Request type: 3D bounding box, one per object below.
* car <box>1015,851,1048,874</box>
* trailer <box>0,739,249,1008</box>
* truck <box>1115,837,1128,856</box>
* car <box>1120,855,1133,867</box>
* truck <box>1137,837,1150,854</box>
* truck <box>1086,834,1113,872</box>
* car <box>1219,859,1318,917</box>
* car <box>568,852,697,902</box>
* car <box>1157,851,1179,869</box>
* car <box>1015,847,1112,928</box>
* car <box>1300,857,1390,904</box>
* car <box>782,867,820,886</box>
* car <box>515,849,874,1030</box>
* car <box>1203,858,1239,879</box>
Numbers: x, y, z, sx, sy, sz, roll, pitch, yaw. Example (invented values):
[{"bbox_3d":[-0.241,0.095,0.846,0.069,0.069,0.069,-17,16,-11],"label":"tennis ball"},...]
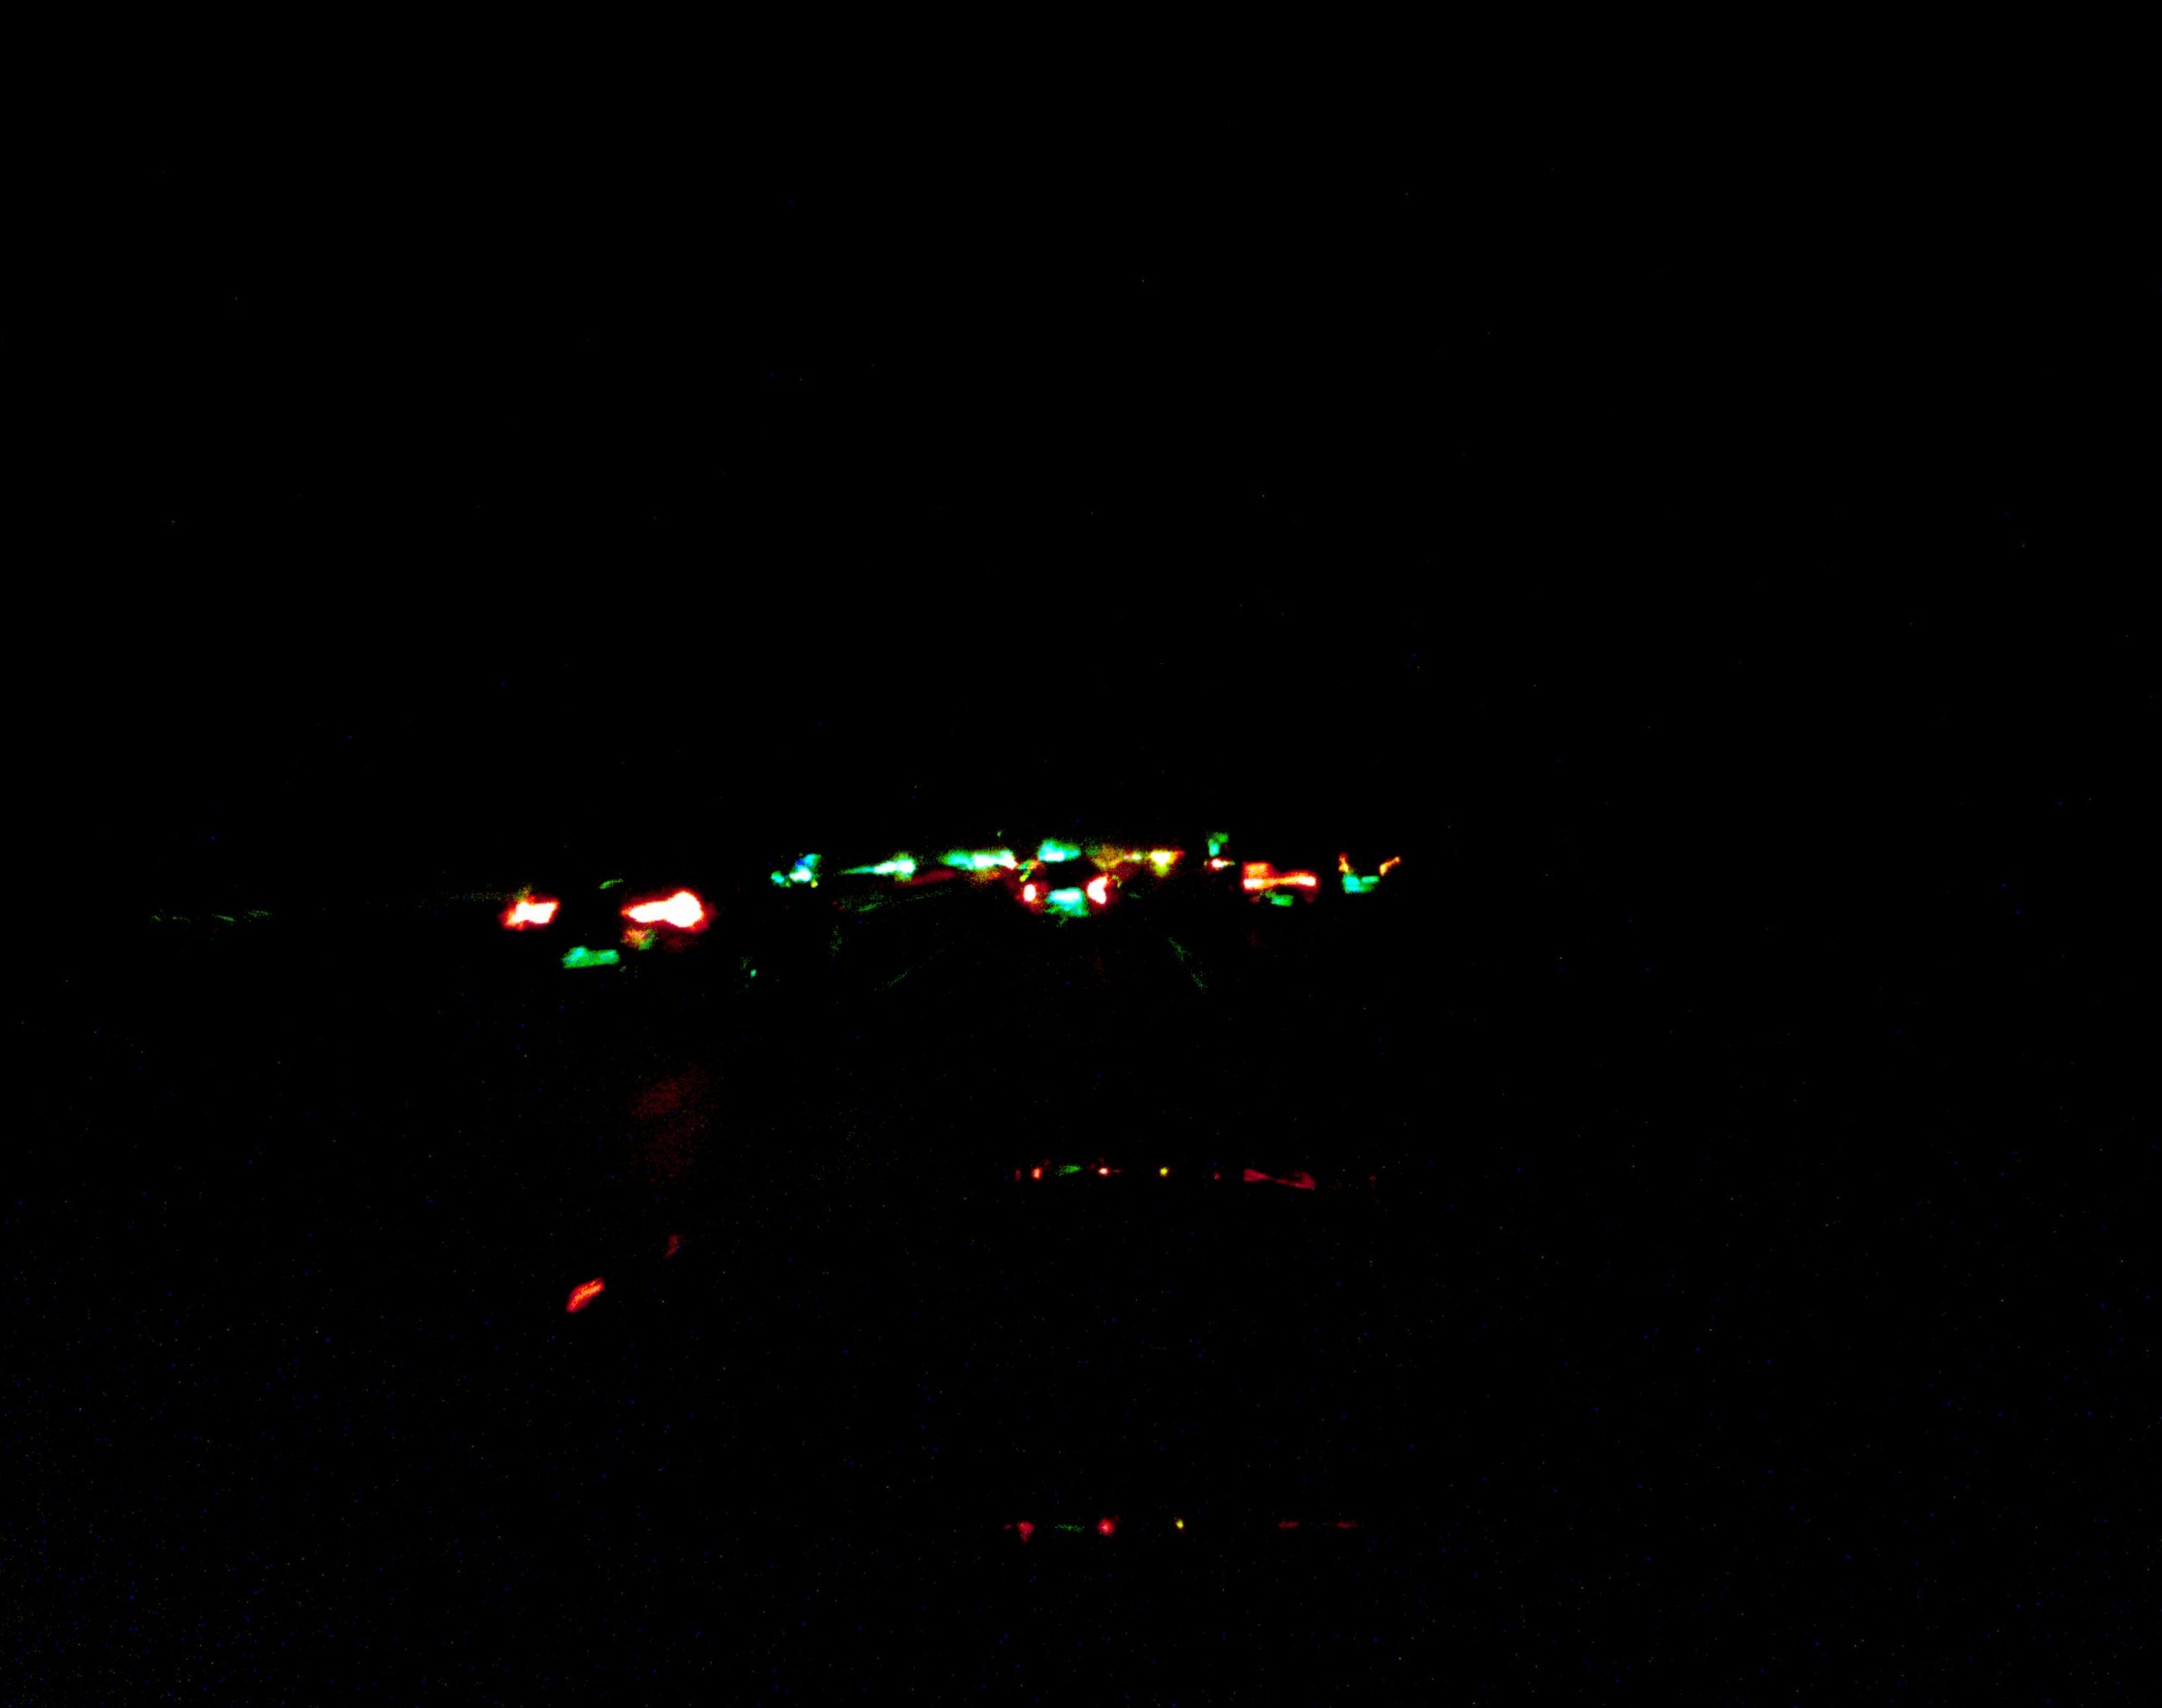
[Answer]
[{"bbox_3d":[-2.932,0.513,49.135,1.657,1.236,3.761,-4,0,0],"label":"car"},{"bbox_3d":[-21.027,0.413,11.501,2.912,4.849,14.587,-4,0,2],"label":"trailer"},{"bbox_3d":[7.122,-1.255,142.306,1.985,3.042,6.470,-4,-1,3],"label":"truck"},{"bbox_3d":[6.603,0.989,117.964,1.855,1.618,4.003,-1,0,3],"label":"car"},{"bbox_3d":[12.033,-1.661,157.106,1.985,3.042,6.470,-4,-1,3],"label":"truck"},{"bbox_3d":[1.702,-0.082,72.152,1.985,3.042,6.470,-4,-1,3],"label":"truck"},{"bbox_3d":[4.395,0.761,19.490,1.577,1.246,3.066,-1,0,-2],"label":"car"},{"bbox_3d":[-16.235,0.787,29.814,1.986,1.599,4.595,-3,0,2],"label":"car"},{"bbox_3d":[8.010,0.554,75.155,1.855,1.618,4.003,-1,0,3],"label":"car"},{"bbox_3d":[-0.258,0.615,17.202,1.795,1.487,4.002,-1,0,2],"label":"car"},{"bbox_3d":[7.672,0.740,23.936,1.577,1.246,3.066,-1,0,-2],"label":"car"},{"bbox_3d":[-22.837,1.837,66.535,1.646,1.343,3.999,-1,0,0],"label":"car"},{"bbox_3d":[-4.082,0.753,9.710,1.851,1.540,4.753,-1,1,2],"label":"car"},{"bbox_3d":[8.532,0.870,49.966,1.577,1.246,3.066,-1,0,-2],"label":"car"}]
